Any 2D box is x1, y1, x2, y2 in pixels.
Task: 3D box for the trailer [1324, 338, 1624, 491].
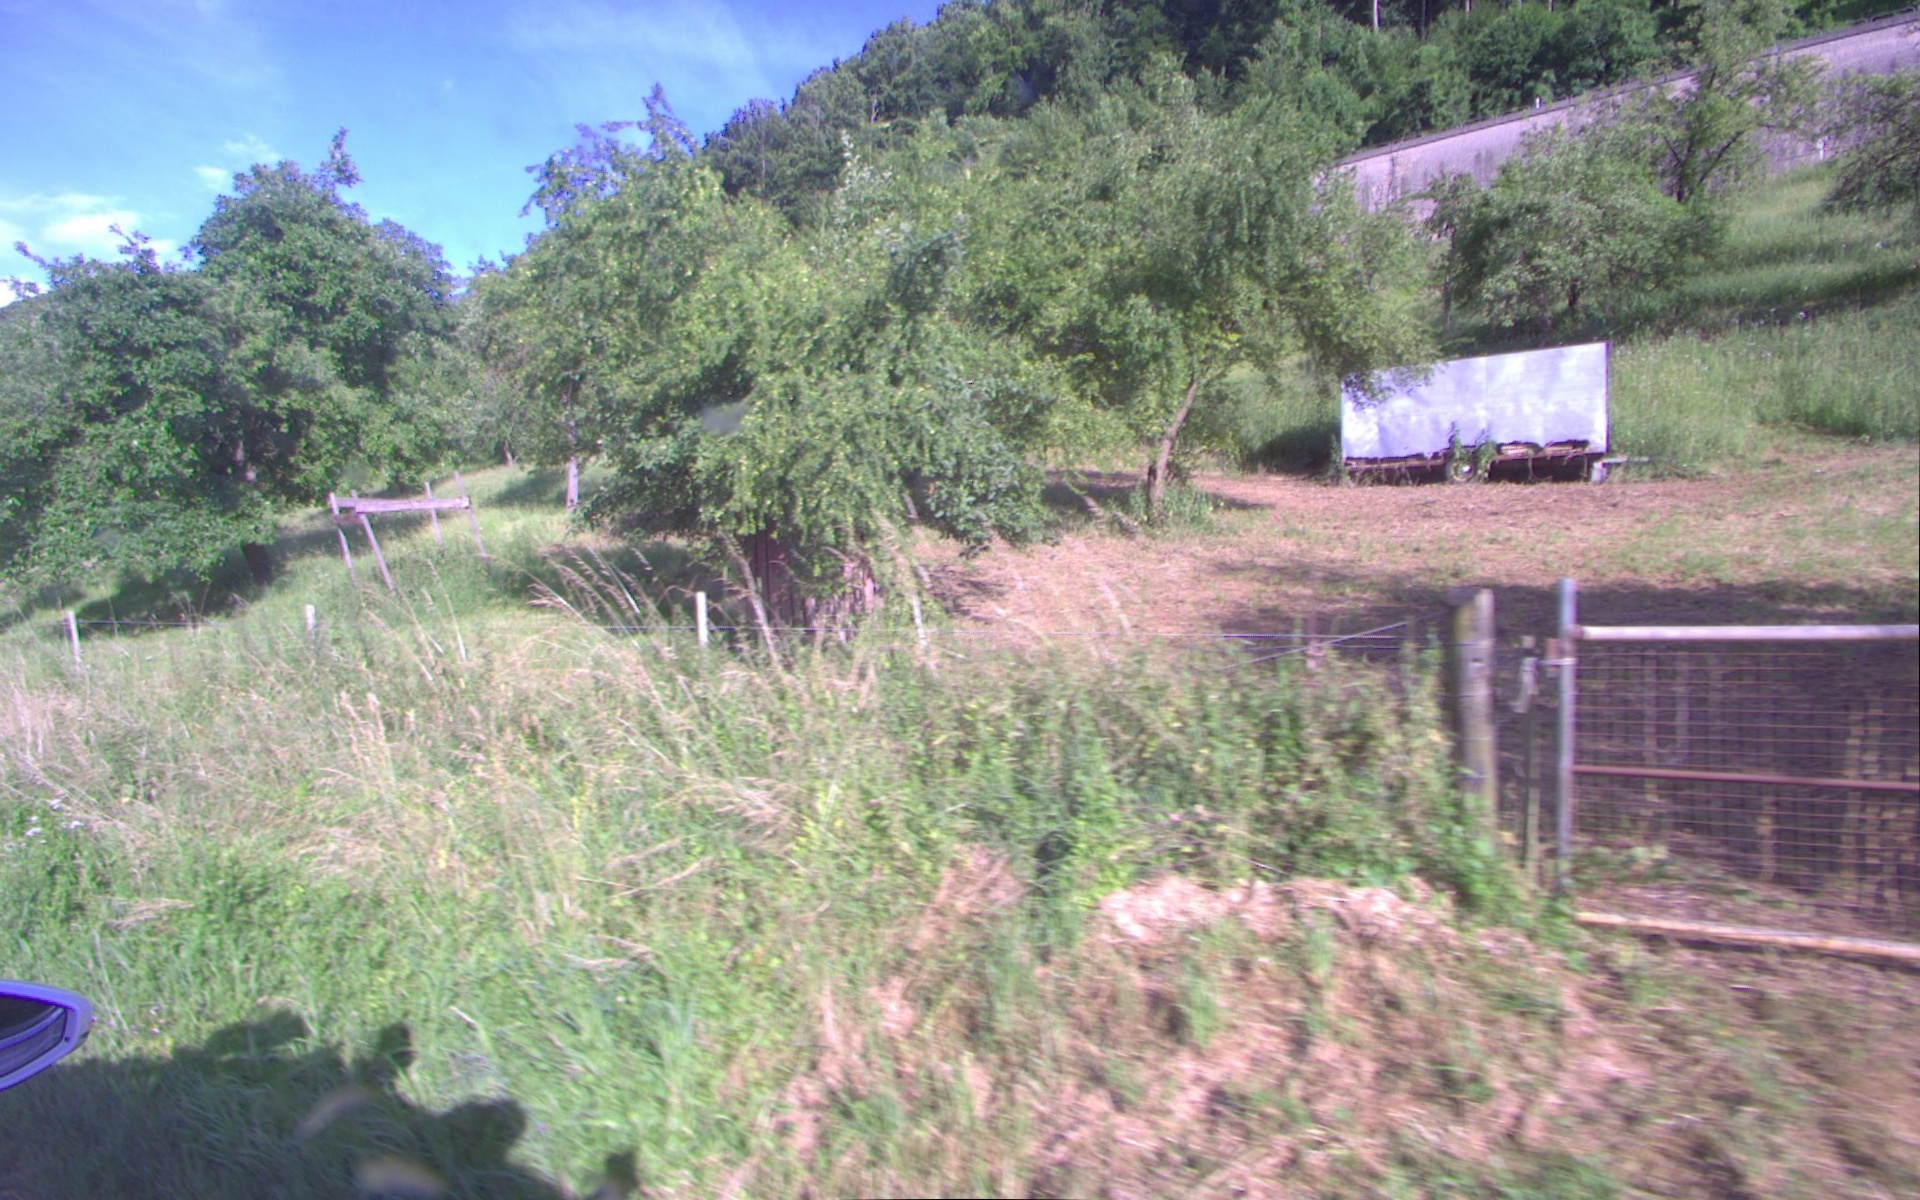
[{"bbox_3d":[10.449,-3.661,20.693,5.165,2.595,2.149,3,4,29],"label":"trailer"}]
